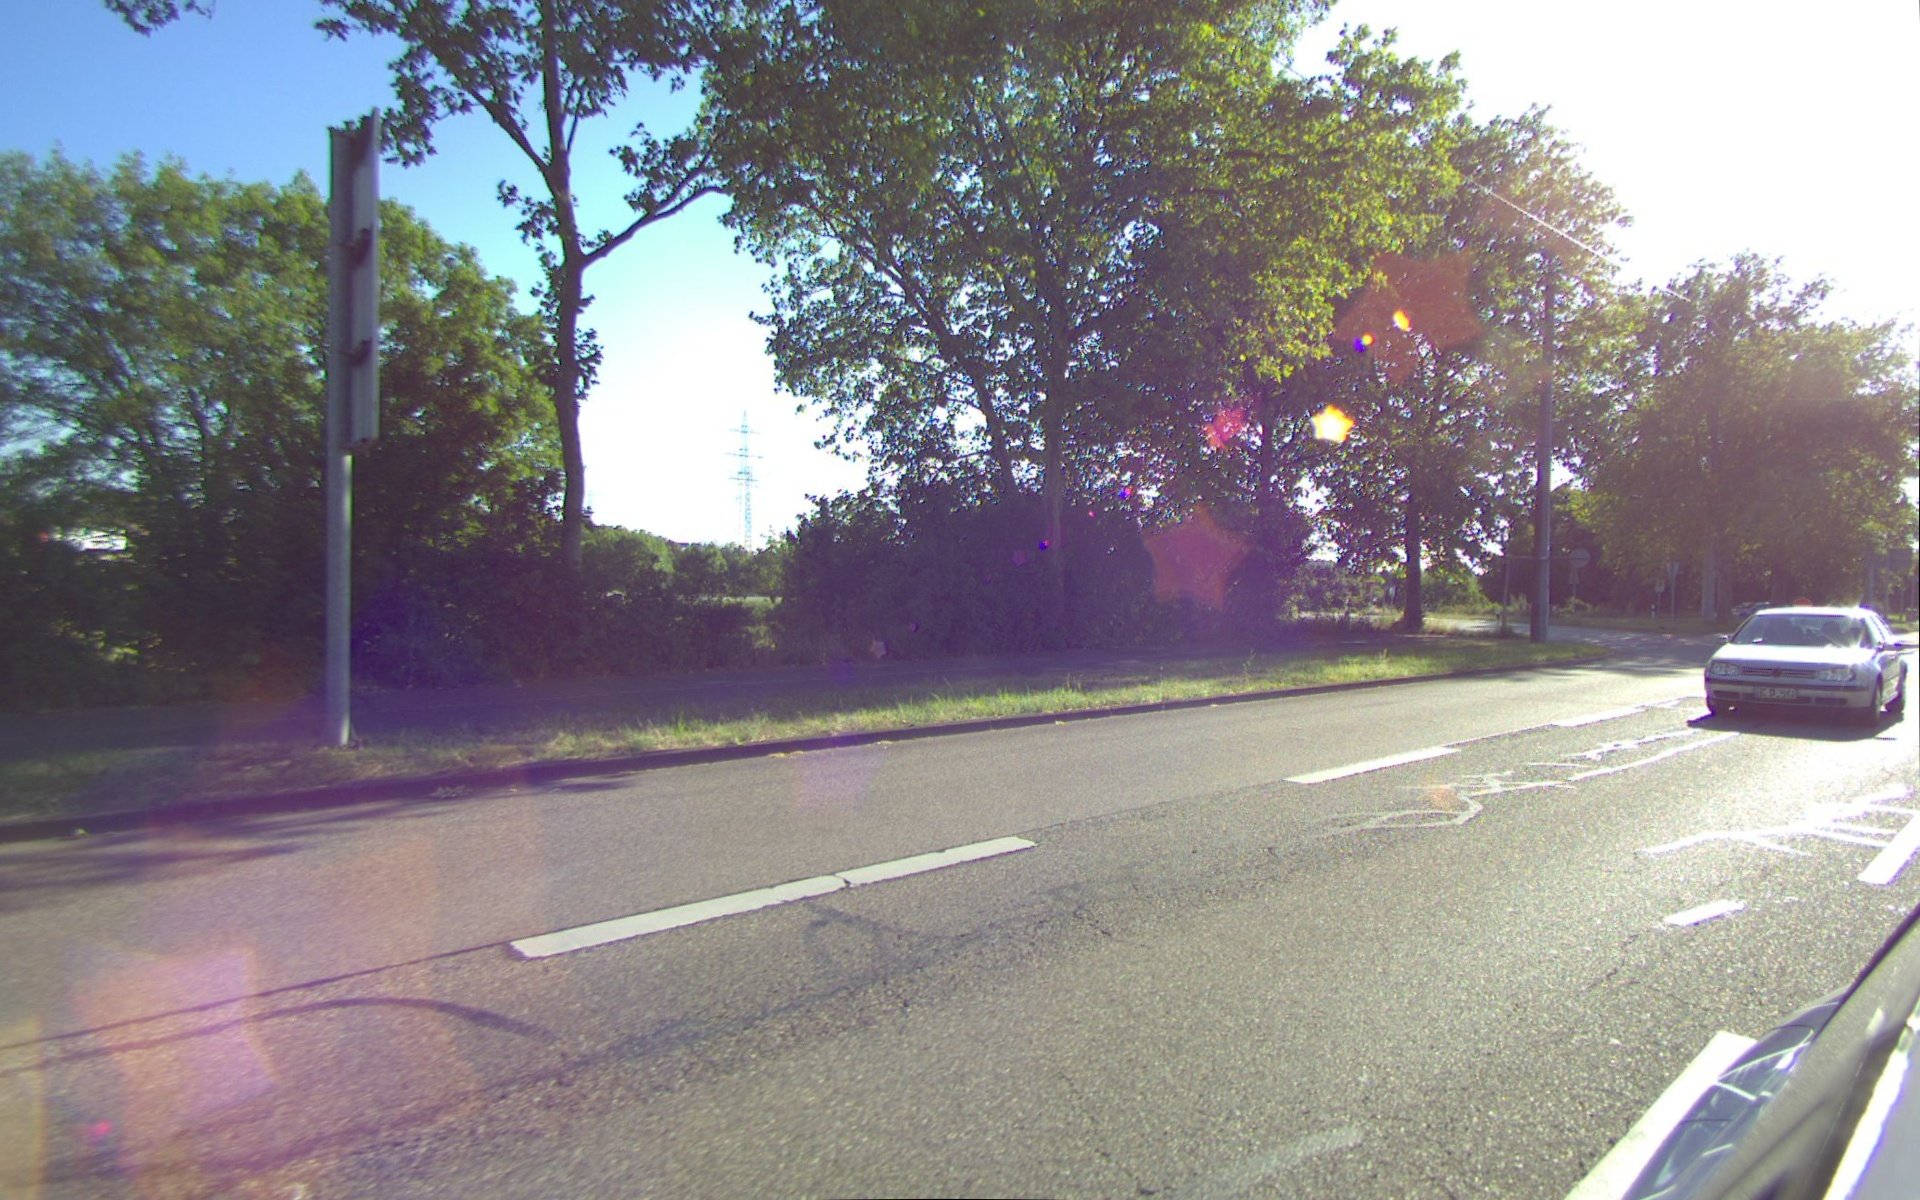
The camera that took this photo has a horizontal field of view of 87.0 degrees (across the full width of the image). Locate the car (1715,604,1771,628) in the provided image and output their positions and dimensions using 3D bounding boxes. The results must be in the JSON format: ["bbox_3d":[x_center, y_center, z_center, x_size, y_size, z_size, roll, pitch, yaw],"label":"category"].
[{"bbox_3d":[51.812,1.010,66.904,4.575,1.461,1.881,0,1,-38],"label":"car"}]

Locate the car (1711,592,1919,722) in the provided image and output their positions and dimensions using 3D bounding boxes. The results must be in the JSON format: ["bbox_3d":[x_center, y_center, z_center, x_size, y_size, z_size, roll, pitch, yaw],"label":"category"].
[{"bbox_3d":[11.670,0.635,13.543,3.930,1.463,1.724,0,1,-40],"label":"car"}]
